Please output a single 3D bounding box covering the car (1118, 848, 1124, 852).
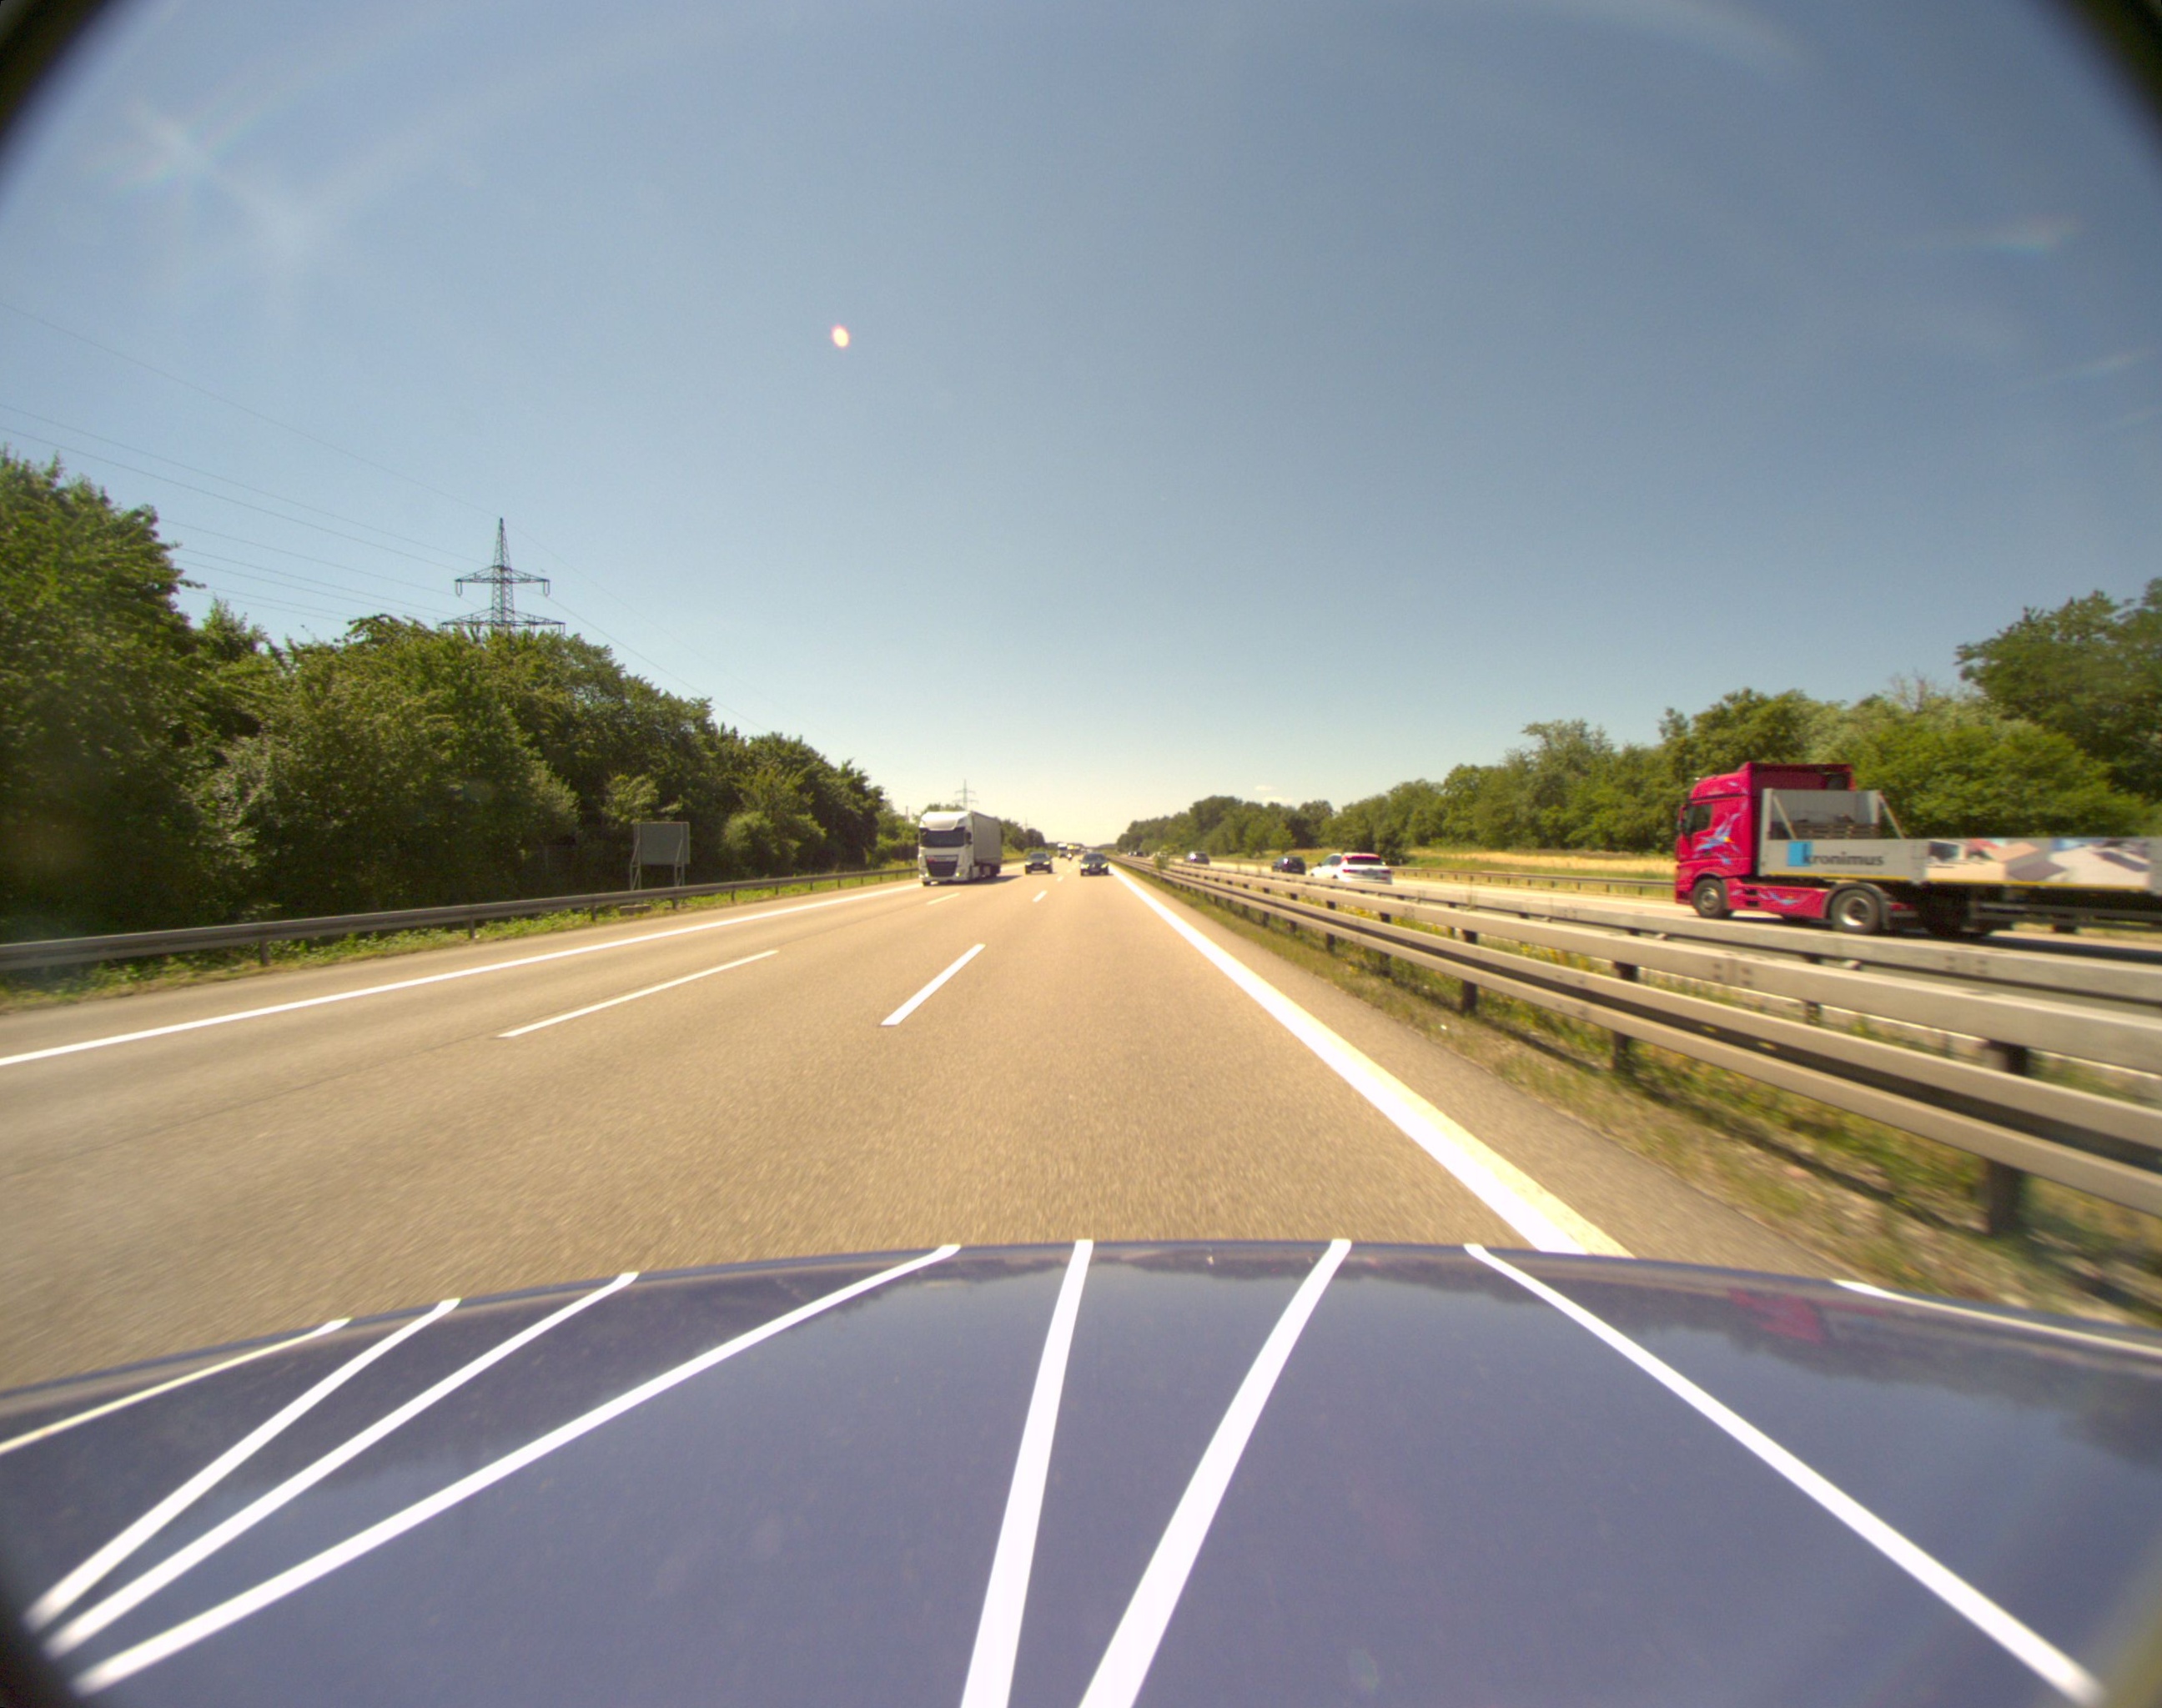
[{"bbox_3d":[13.733,-1.397,262.225,1.799,1.483,4.238,1,1,1],"label":"car"}]

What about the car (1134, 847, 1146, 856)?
[{"bbox_3d":[11.695,-0.557,150.665,1.964,1.761,4.442,0,1,1],"label":"car"}]

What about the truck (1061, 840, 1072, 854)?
[{"bbox_3d":[-3.989,-1.903,208.811,2.573,3.871,5.722,-2,1,0],"label":"truck"}]

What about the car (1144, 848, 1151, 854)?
[{"bbox_3d":[17.626,-0.746,201.394,1.586,1.420,3.476,1,1,1],"label":"car"}]

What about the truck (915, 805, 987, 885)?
[{"bbox_3d":[-7.097,-0.487,42.372,2.743,4.096,6.124,-2,1,1],"label":"truck"}]

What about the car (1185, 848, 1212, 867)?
[{"bbox_3d":[10.510,0.257,68.179,1.813,1.638,3.961,1,1,0],"label":"car"}]

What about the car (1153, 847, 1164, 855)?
[{"bbox_3d":[15.934,-0.557,156.825,1.884,1.557,4.192,1,1,1],"label":"car"}]

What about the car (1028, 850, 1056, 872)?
[{"bbox_3d":[-2.948,0.502,57.861,1.878,1.614,4.004,-2,0,0],"label":"car"}]

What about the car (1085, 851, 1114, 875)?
[{"bbox_3d":[1.158,0.552,49.783,1.808,1.385,3.999,-2,1,0],"label":"car"}]

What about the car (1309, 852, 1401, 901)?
[{"bbox_3d":[9.567,0.723,26.895,1.808,1.559,4.095,1,1,1],"label":"car"}]

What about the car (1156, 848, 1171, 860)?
[{"bbox_3d":[11.775,-0.014,108.624,1.813,1.528,3.961,1,1,0],"label":"car"}]

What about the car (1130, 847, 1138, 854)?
[{"bbox_3d":[12.236,-0.785,176.016,1.771,1.740,3.985,0,1,1],"label":"car"}]

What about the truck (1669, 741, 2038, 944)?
[{"bbox_3d":[17.577,-0.253,17.982,2.767,3.991,5.750,1,1,0],"label":"truck"}]

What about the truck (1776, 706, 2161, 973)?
[{"bbox_3d":[17.525,-0.191,10.865,2.767,3.991,13.521,1,1,0],"label":"truck"}]

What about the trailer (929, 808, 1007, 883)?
[{"bbox_3d":[-6.994,-0.536,49.141,2.743,4.083,13.121,-2,1,1],"label":"trailer"}]

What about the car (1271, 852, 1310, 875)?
[{"bbox_3d":[14.563,0.639,52.985,1.737,1.443,3.677,1,1,1],"label":"car"}]
